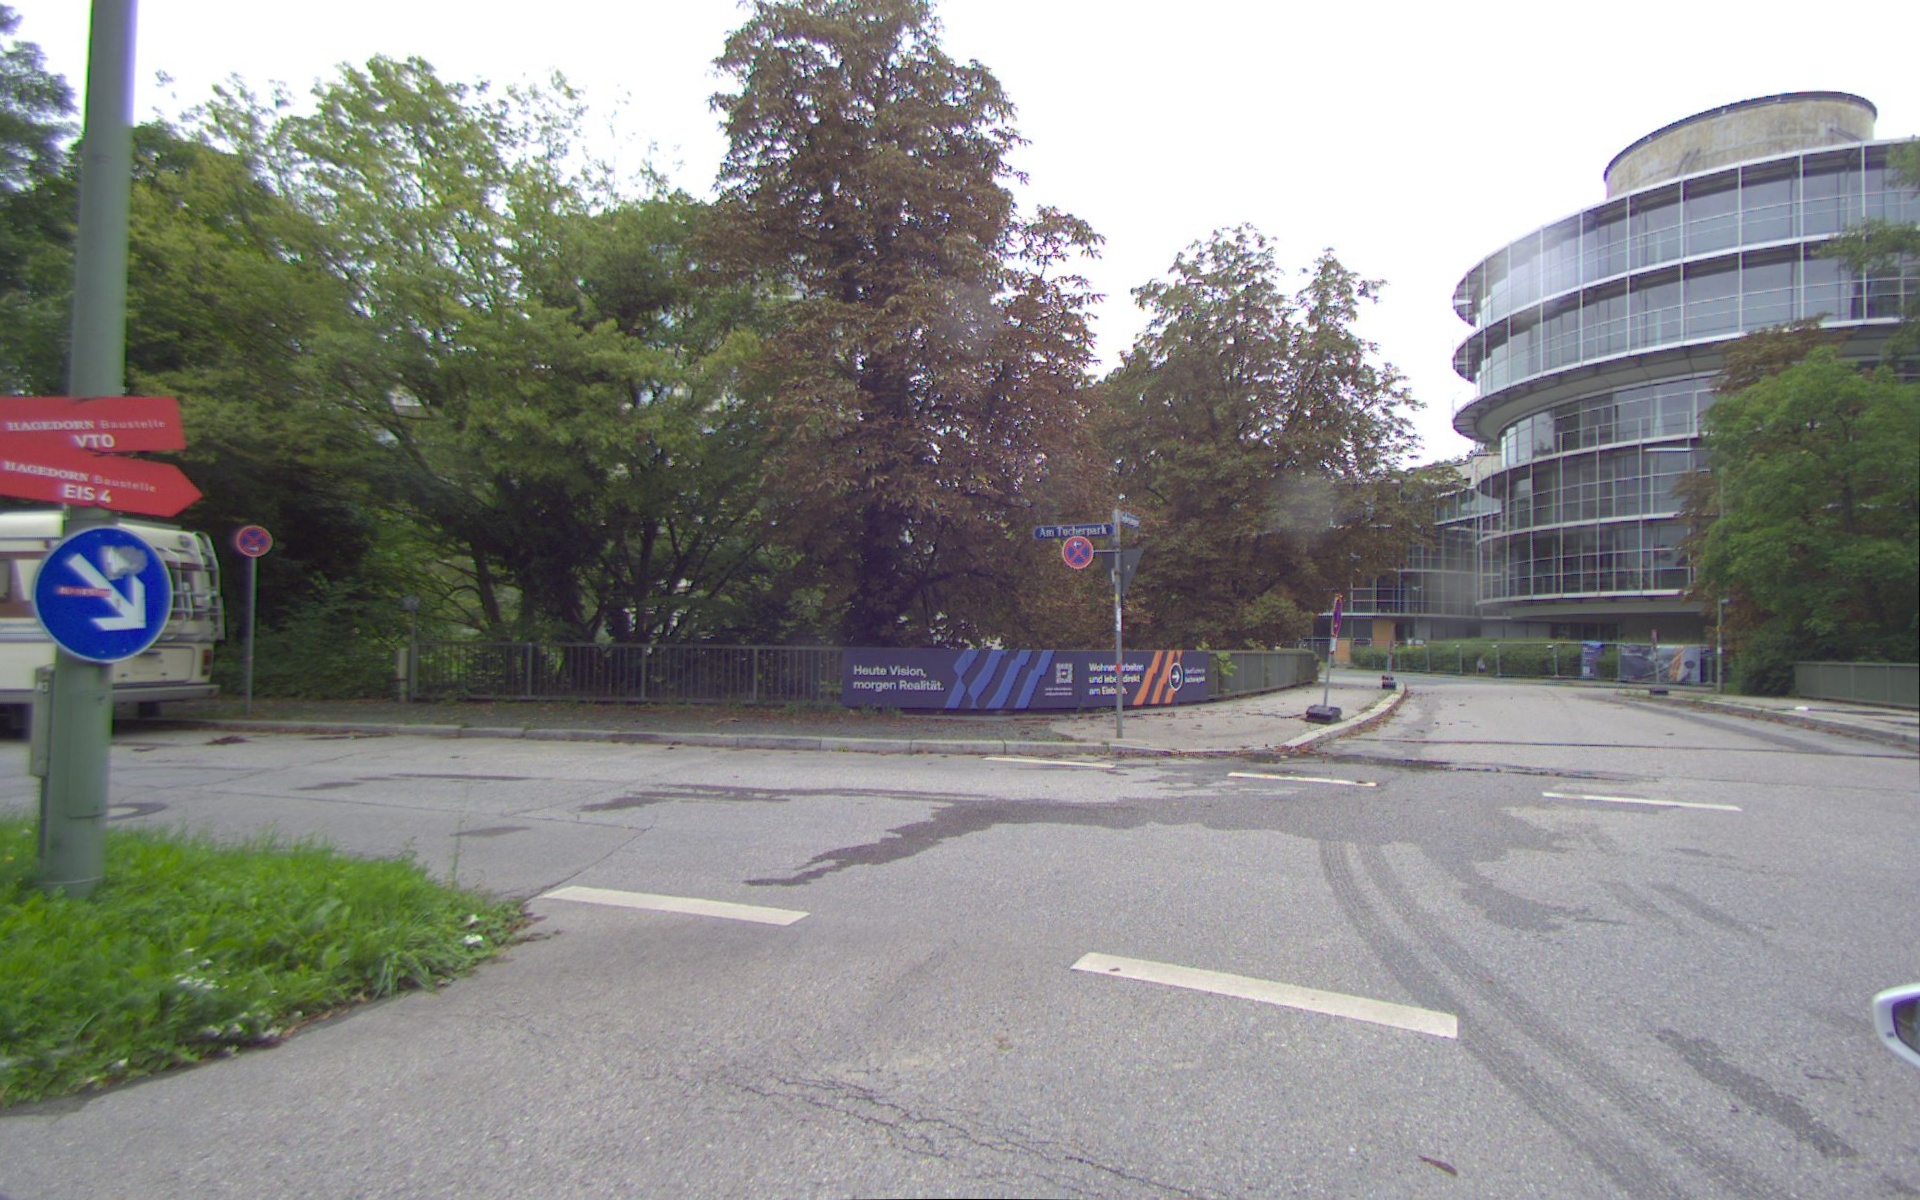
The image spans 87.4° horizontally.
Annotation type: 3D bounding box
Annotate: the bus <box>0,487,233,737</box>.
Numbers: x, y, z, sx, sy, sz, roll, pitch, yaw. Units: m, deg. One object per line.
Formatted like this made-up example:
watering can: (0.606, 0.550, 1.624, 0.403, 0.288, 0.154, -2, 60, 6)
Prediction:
bus: (-12.571, 0.143, 12.332, 5.619, 2.734, 2.324, 1, -2, 3)
